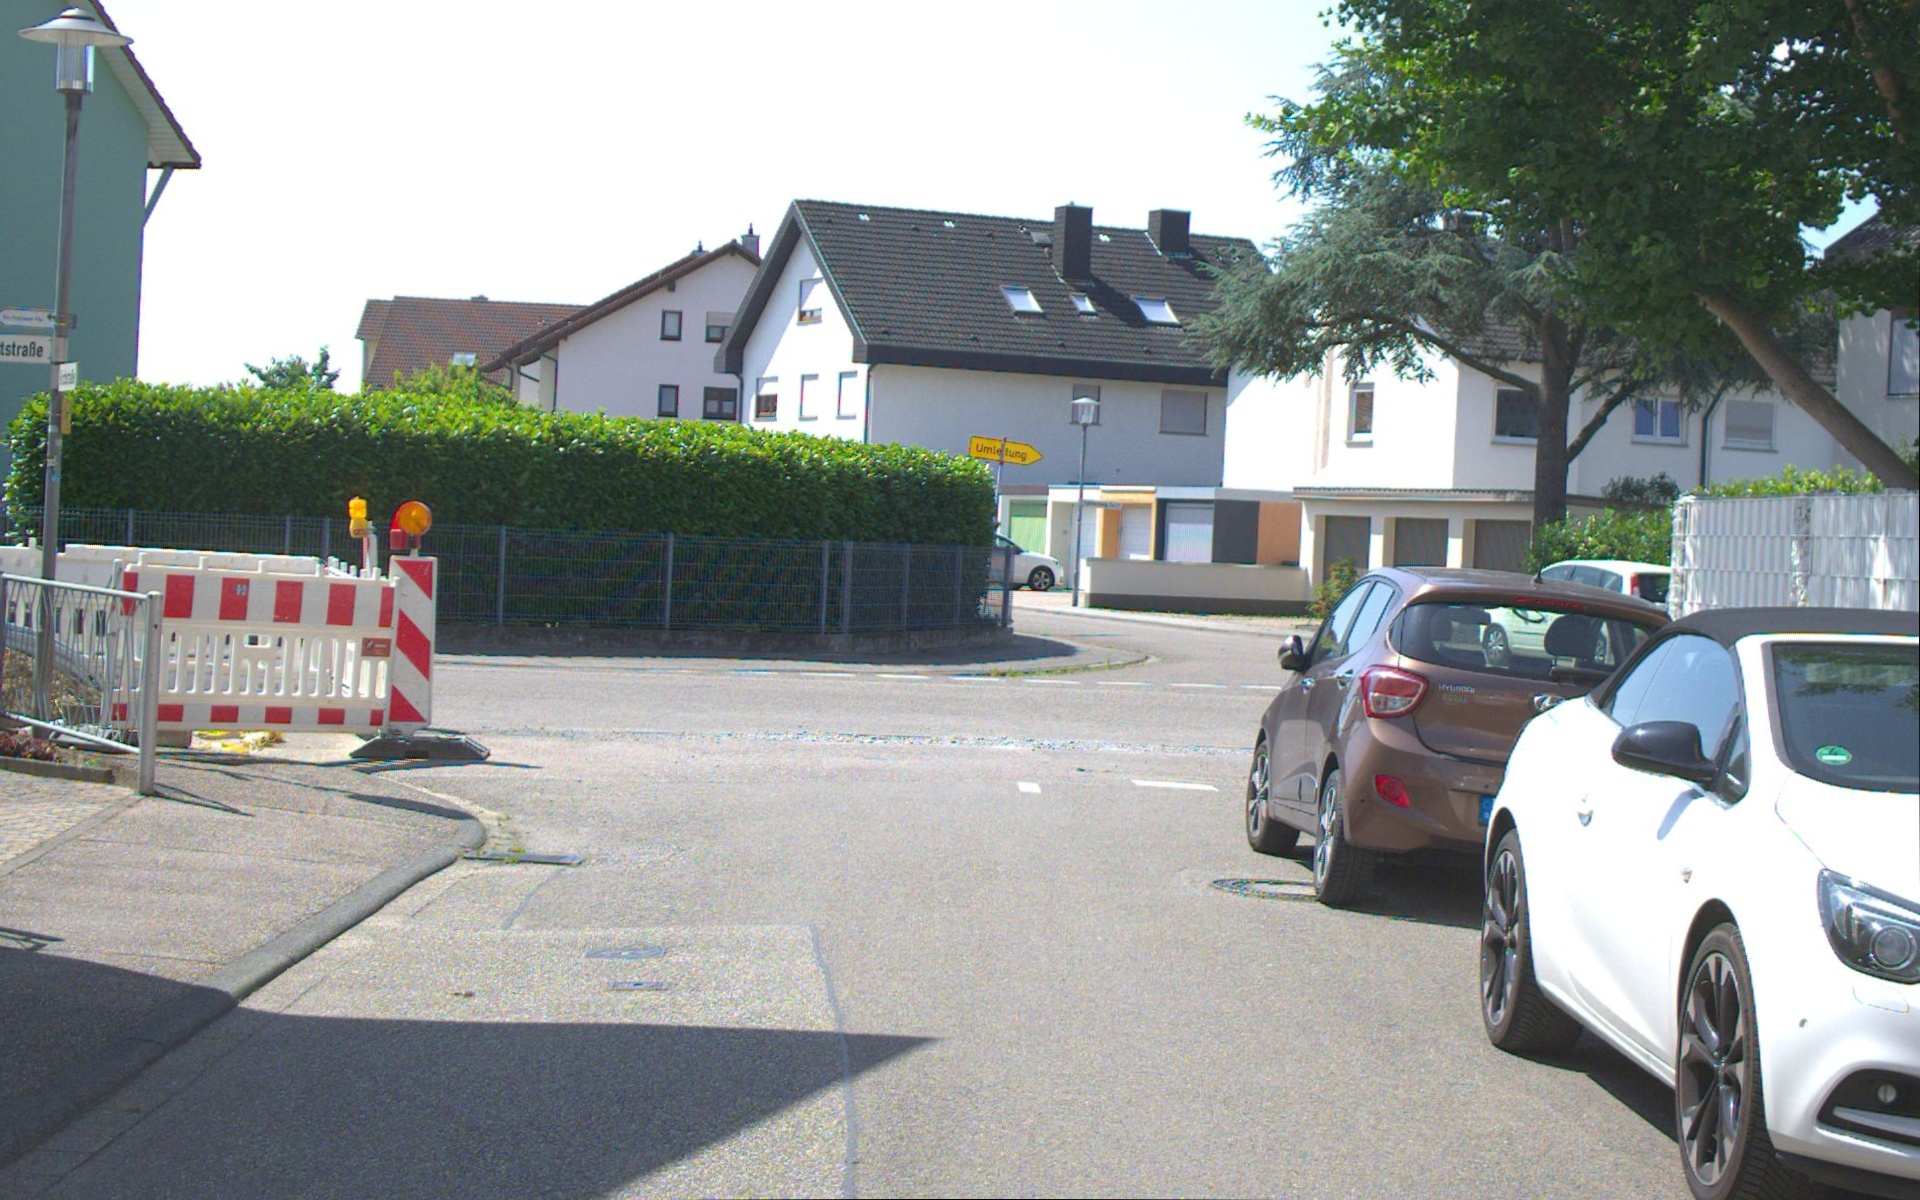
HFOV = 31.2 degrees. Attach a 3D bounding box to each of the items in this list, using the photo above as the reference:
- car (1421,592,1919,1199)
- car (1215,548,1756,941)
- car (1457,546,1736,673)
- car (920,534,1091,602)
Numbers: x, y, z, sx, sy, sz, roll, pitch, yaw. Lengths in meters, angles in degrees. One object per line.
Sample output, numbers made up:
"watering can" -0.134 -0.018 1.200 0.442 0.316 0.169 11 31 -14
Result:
"car" 2.618 0.784 9.523 1.895 1.424 4.737 3 1 -1
"car" 2.348 0.576 16.380 1.712 1.527 4.036 3 1 -2
"car" 9.101 0.104 49.496 1.797 1.557 4.145 3 1 -25
"car" 1.086 -0.772 82.339 3.598 1.403 1.784 3 1 -22
